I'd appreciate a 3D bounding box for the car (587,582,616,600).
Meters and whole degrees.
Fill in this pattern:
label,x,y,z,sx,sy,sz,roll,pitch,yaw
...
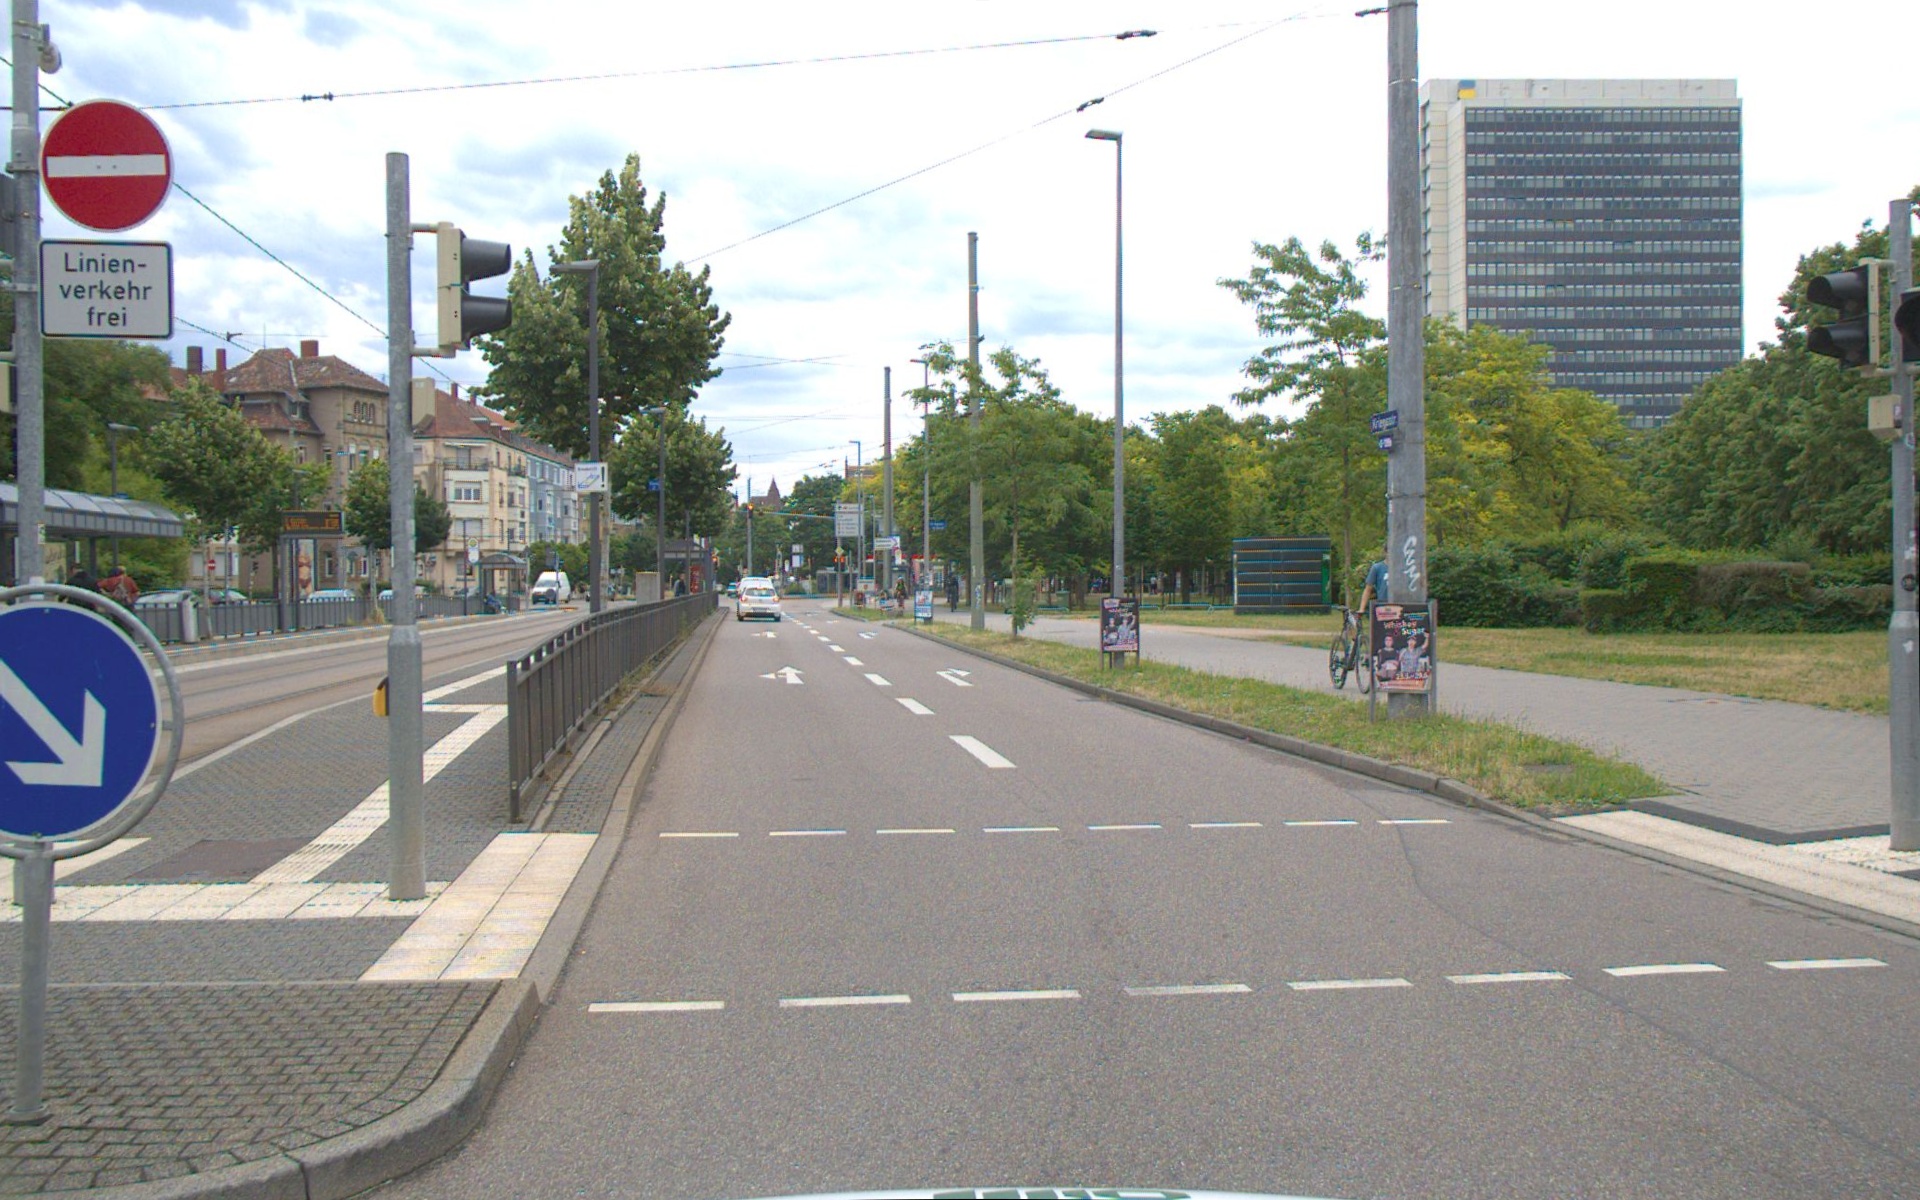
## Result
label,x,y,z,sx,sy,sz,roll,pitch,yaw
car,-31.052,-0.786,143.289,1.734,1.519,3.886,-1,0,-1

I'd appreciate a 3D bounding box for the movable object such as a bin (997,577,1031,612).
label,x,y,z,sx,sy,sz,roll,pitch,yaw
movable object such as a bin,2.244,-0.222,68.804,1.257,1.414,1.157,-1,0,-7

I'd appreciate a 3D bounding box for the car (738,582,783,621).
label,x,y,z,sx,sy,sz,roll,pitch,yaw
car,-8.094,0.040,67.320,1.748,1.498,4.005,-1,1,-6

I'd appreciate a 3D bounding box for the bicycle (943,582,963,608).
label,x,y,z,sx,sy,sz,roll,pitch,yaw
bicycle,-0.337,-0.237,76.936,0.666,1.175,1.895,-1,1,-8

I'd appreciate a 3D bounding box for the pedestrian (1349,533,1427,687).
label,x,y,z,sx,sy,sz,roll,pitch,yaw
pedestrian,5.422,0.117,20.975,0.726,1.902,0.681,-1,0,-8

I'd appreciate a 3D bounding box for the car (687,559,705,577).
label,x,y,z,sx,sy,sz,roll,pitch,yaw
car,-28.491,-3.433,178.558,1.737,1.906,3.880,-1,0,-8

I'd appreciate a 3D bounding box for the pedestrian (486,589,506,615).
label,x,y,z,sx,sy,sz,roll,pitch,yaw
pedestrian,-23.380,0.091,83.361,0.849,1.289,0.692,-1,1,-10

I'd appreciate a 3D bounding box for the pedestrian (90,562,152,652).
label,x,y,z,sx,sy,sz,roll,pitch,yaw
pedestrian,-16.224,0.127,32.000,0.754,1.689,1.022,-1,0,-10

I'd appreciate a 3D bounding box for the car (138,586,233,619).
label,x,y,z,sx,sy,sz,roll,pitch,yaw
car,-37.410,0.115,79.954,3.801,1.519,1.773,-1,0,-8

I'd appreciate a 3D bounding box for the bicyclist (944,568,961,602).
label,x,y,z,sx,sy,sz,roll,pitch,yaw
bicyclist,-0.349,-0.720,76.949,0.666,1.564,0.671,-1,1,-9

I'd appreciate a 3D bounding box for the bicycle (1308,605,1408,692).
label,x,y,z,sx,sy,sz,roll,pitch,yaw
bicycle,5.034,0.597,21.018,0.642,1.020,1.776,-1,1,-7

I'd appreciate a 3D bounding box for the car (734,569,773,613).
label,x,y,z,sx,sy,sz,roll,pitch,yaw
car,-9.800,-0.434,78.319,1.749,1.997,4.374,-1,1,-8

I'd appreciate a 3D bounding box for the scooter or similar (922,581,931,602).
label,x,y,z,sx,sy,sz,roll,pitch,yaw
scooter or similar,-1.917,-0.506,94.655,0.368,1.161,1.200,-1,1,3

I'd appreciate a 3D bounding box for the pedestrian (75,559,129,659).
label,x,y,z,sx,sy,sz,roll,pitch,yaw
pedestrian,-15.292,0.146,29.486,0.688,1.745,0.696,-1,0,-16

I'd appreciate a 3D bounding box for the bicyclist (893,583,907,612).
label,x,y,z,sx,sy,sz,roll,pitch,yaw
bicyclist,-3.018,-0.139,82.915,0.665,1.403,0.727,-1,1,-2

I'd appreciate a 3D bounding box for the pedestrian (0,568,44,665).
label,x,y,z,sx,sy,sz,roll,pitch,yaw
pedestrian,-16.420,0.286,28.769,0.620,1.652,0.679,-1,0,-8

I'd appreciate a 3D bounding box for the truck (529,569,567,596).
label,x,y,z,sx,sy,sz,roll,pitch,yaw
truck,-31.883,-1.345,128.108,1.751,2.068,5.394,-1,0,-1

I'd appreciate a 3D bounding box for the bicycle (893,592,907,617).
label,x,y,z,sx,sy,sz,roll,pitch,yaw
bicycle,-2.997,0.219,82.911,0.665,1.175,1.897,-1,1,-2
